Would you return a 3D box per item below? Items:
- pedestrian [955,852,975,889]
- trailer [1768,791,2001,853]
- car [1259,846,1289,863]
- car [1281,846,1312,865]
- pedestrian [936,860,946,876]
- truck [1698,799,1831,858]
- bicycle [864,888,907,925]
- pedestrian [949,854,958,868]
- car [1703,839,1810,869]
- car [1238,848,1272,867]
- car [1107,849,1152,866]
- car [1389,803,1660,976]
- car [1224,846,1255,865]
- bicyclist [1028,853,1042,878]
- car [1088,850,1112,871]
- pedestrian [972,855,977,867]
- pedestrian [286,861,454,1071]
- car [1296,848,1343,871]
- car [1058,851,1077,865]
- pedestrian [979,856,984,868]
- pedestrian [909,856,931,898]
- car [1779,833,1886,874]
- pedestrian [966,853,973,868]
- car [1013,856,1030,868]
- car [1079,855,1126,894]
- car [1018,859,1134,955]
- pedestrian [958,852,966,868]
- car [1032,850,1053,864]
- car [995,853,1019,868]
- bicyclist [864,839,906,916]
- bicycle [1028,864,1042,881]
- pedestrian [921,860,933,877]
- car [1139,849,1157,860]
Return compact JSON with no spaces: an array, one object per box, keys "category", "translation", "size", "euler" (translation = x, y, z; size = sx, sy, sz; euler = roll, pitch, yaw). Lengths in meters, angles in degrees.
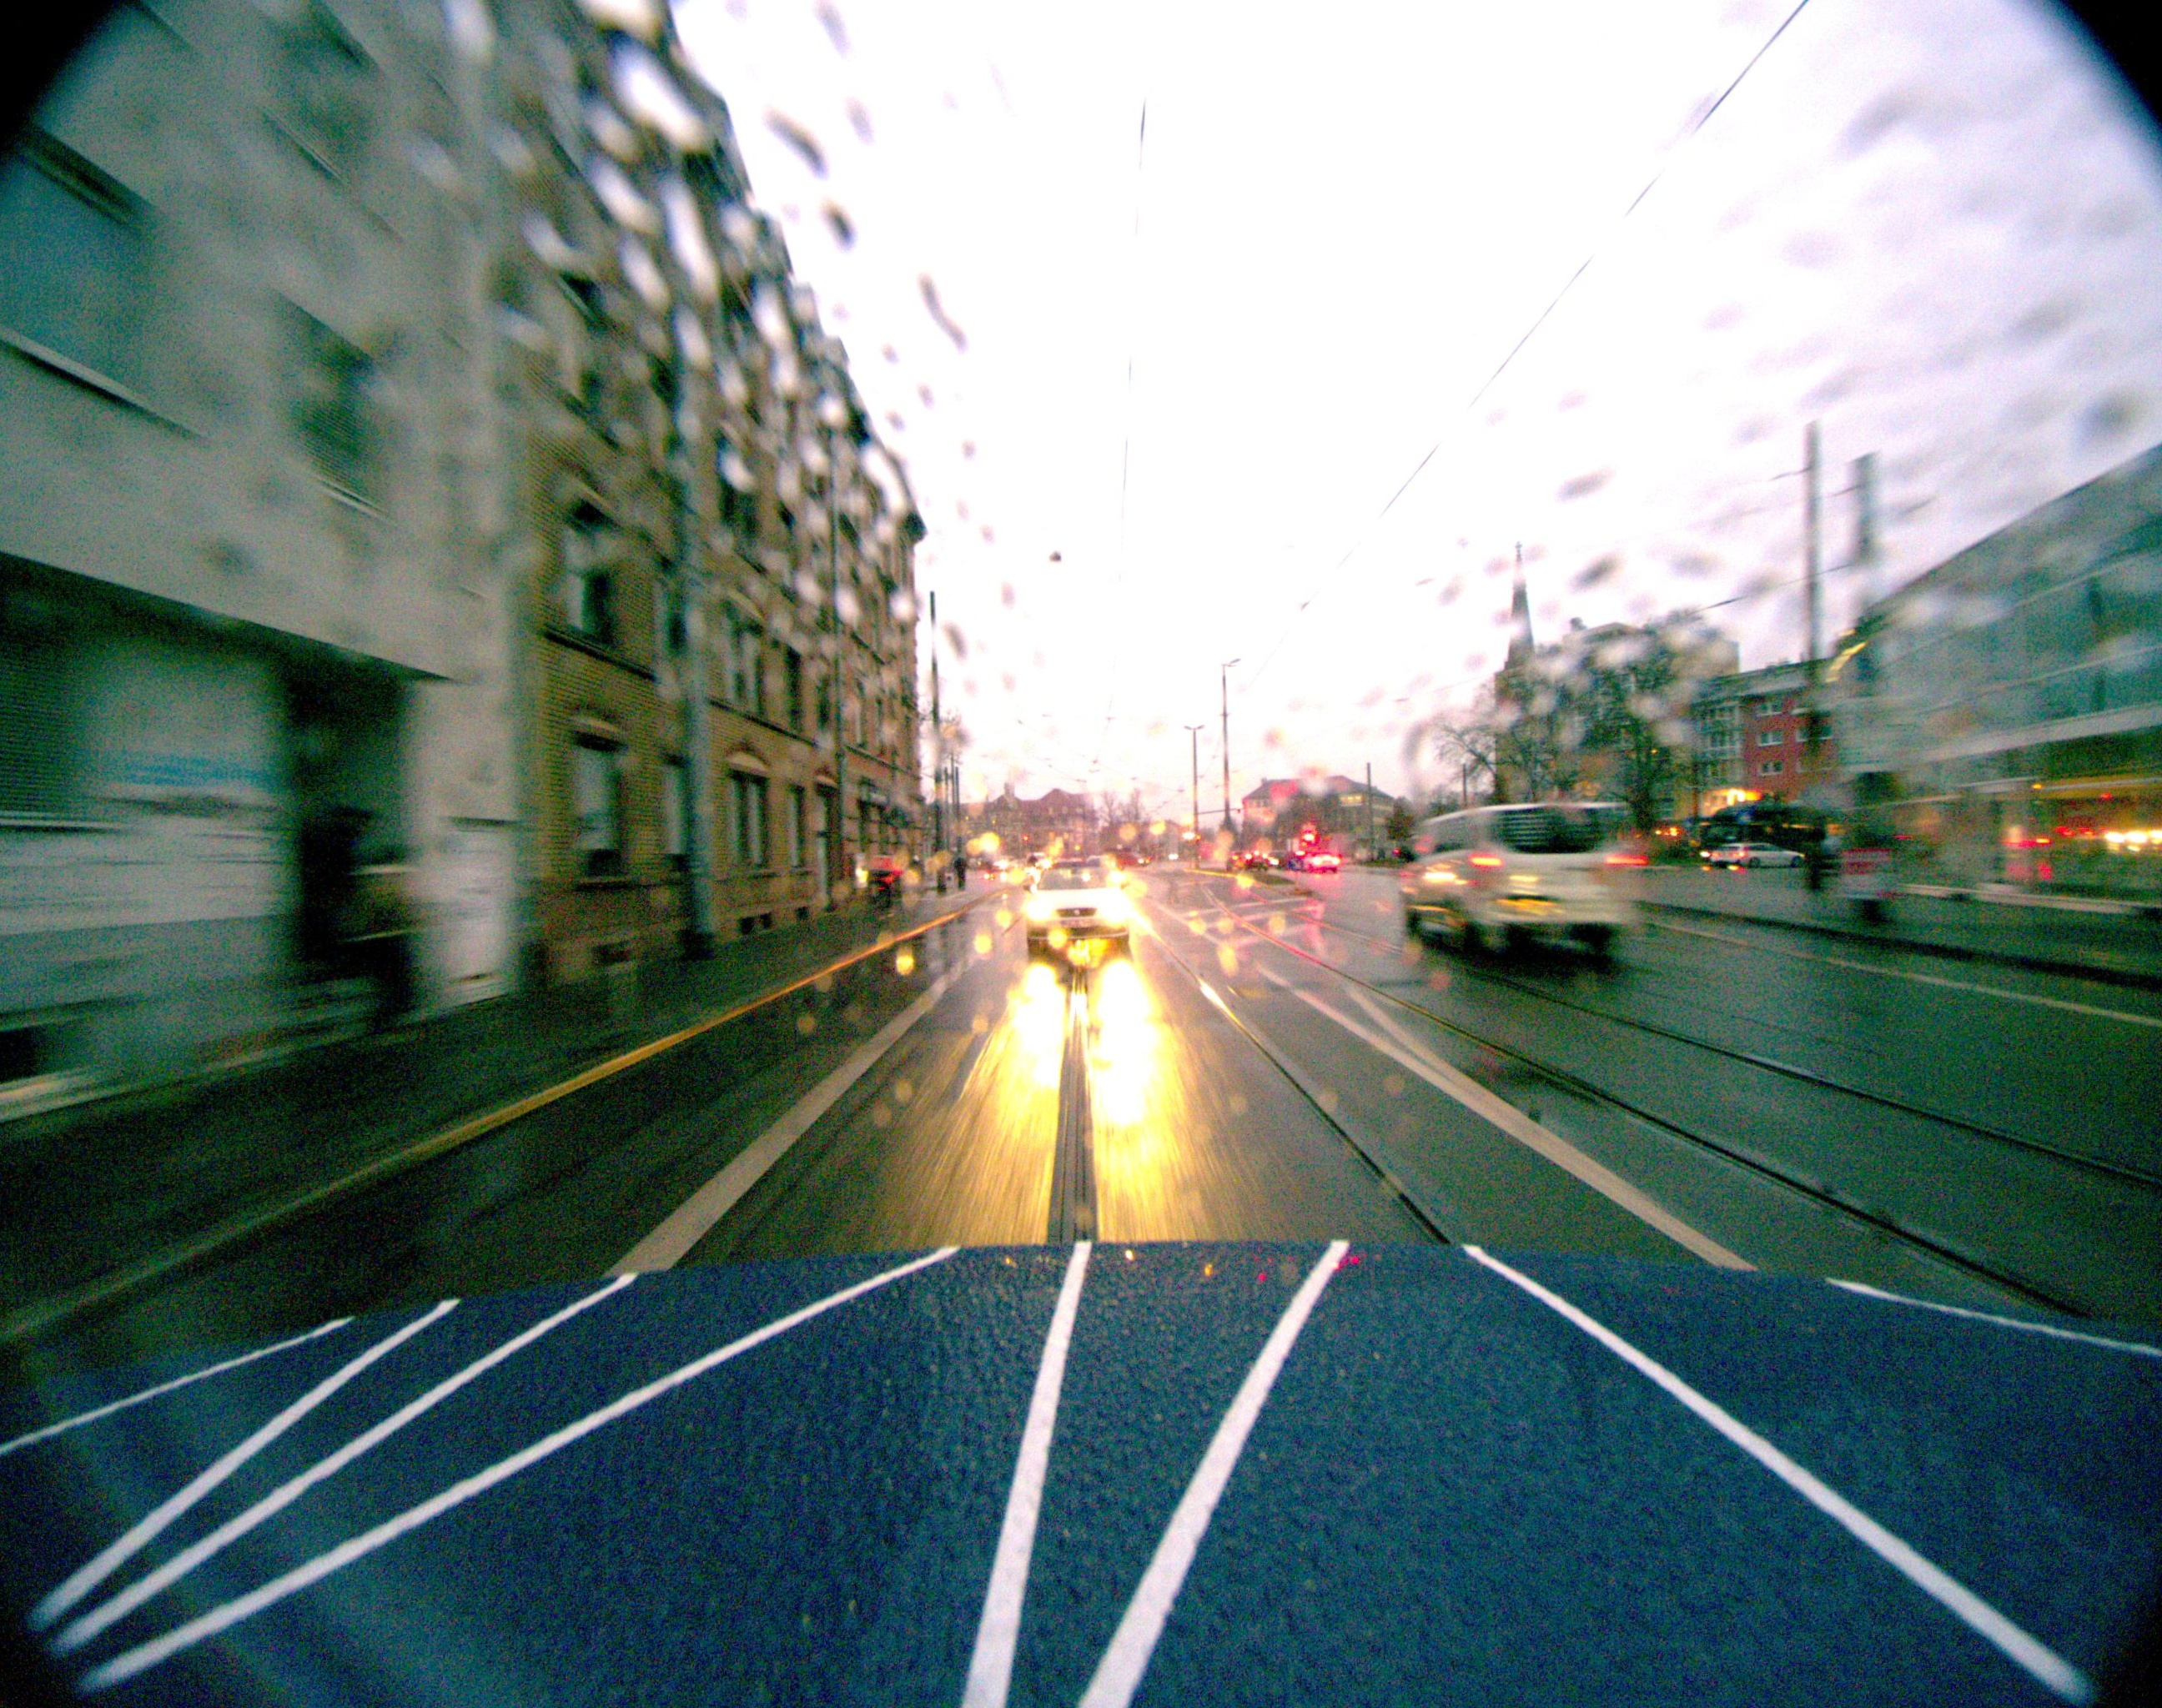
[{"category":"pedestrian","translation":[-5.771,0.805,37.817],"size":[0.753,1.814,0.711],"euler":[-2,1,3]},{"category":"trailer","translation":[53.543,-2.123,50.641],"size":[15.057,3.398,2.634],"euler":[-3,1,-9]},{"category":"car","translation":[17.068,0.030,67.471],"size":[1.728,1.350,4.000],"euler":[-2,0,2]},{"category":"car","translation":[16.910,0.111,59.758],"size":[1.604,1.410,3.472],"euler":[-2,0,3]},{"category":"pedestrian","translation":[-14.759,1.447,80.056],"size":[0.821,1.610,0.747],"euler":[-3,1,-32]},{"category":"truck","translation":[44.111,-1.638,49.104],"size":[6.756,3.398,2.655],"euler":[-3,1,-9]},{"category":"bicycle","translation":[-4.904,1.302,19.162],"size":[0.609,0.757,1.860],"euler":[-2,1,-1]},{"category":"pedestrian","translation":[-14.902,0.818,88.888],"size":[0.710,1.610,0.747],"euler":[-3,1,-33]},{"category":"car","translation":[38.289,-0.018,43.101],"size":[4.810,1.489,1.998],"euler":[-2,1,-10]},{"category":"car","translation":[13.323,0.264,58.481],"size":[1.876,1.382,4.000],"euler":[0,1,3]},{"category":"car","translation":[6.258,0.505,99.075],"size":[5.538,2.002,2.004],"euler":[-2,1,36]},{"category":"car","translation":[6.226,0.403,11.409],"size":[1.997,2.002,4.687],"euler":[-3,1,11]},{"category":"car","translation":[13.660,0.102,65.548],"size":[1.904,1.477,4.000],"euler":[-2,0,2]},{"category":"bicyclist","translation":[-2.892,0.703,47.716],"size":[0.727,1.525,0.785],"euler":[-2,1,0]},{"category":"car","translation":[1.495,0.510,60.556],"size":[1.824,1.565,4.000],"euler":[-2,0,1]},{"category":"pedestrian","translation":[-15.649,1.086,111.692],"size":[0.638,1.752,0.510],"euler":[-3,1,-12]},{"category":"pedestrian","translation":[-6.246,0.945,6.717],"size":[0.777,1.734,0.673],"euler":[-2,1,1]},{"category":"car","translation":[16.502,0.344,52.801],"size":[1.998,1.413,4.588],"euler":[-2,0,3]},{"category":"car","translation":[-1.959,0.590,112.382],"size":[1.826,1.922,3.995],"euler":[-3,1,-15]},{"category":"pedestrian","translation":[-14.627,1.128,111.962],"size":[0.638,1.752,0.510],"euler":[-3,1,-12]},{"category":"pedestrian","translation":[-5.996,0.846,28.345],"size":[0.633,1.539,0.710],"euler":[-2,1,-5]},{"category":"car","translation":[30.141,-0.025,30.442],"size":[4.299,1.391,1.739],"euler":[-3,1,-26]},{"category":"pedestrian","translation":[-13.058,0.739,88.613],"size":[0.511,1.752,0.637],"euler":[-3,1,-33]},{"category":"car","translation":[-8.117,1.121,103.401],"size":[1.829,1.499,3.801],"euler":[-3,0,-9]},{"category":"car","translation":[0.912,0.813,32.193],"size":[1.797,1.415,4.000],"euler":[-2,0,2]},{"category":"car","translation":[-0.006,0.863,14.139],"size":[1.797,1.415,4.000],"euler":[-2,0,2]},{"category":"pedestrian","translation":[-13.954,0.731,88.791],"size":[0.651,1.811,0.637],"euler":[-3,1,-33]},{"category":"car","translation":[-5.385,0.359,105.277],"size":[2.021,1.809,3.683],"euler":[-3,1,-17]},{"category":"car","translation":[-9.238,0.802,95.739],"size":[1.998,1.827,4.872],"euler":[-2,0,6]},{"category":"bicyclist","translation":[-4.942,0.578,19.248],"size":[0.747,1.869,1.111],"euler":[-2,1,-2]},{"category":"bicycle","translation":[-2.884,1.140,47.708],"size":[0.725,0.985,2.212],"euler":[-2,1,0]},{"category":"pedestrian","translation":[-15.282,1.417,75.412],"size":[0.818,1.667,0.749],"euler":[-2,1,10]},{"category":"car","translation":[10.782,0.033,122.430],"size":[1.996,1.543,4.004],"euler":[-3,1,17]}]
